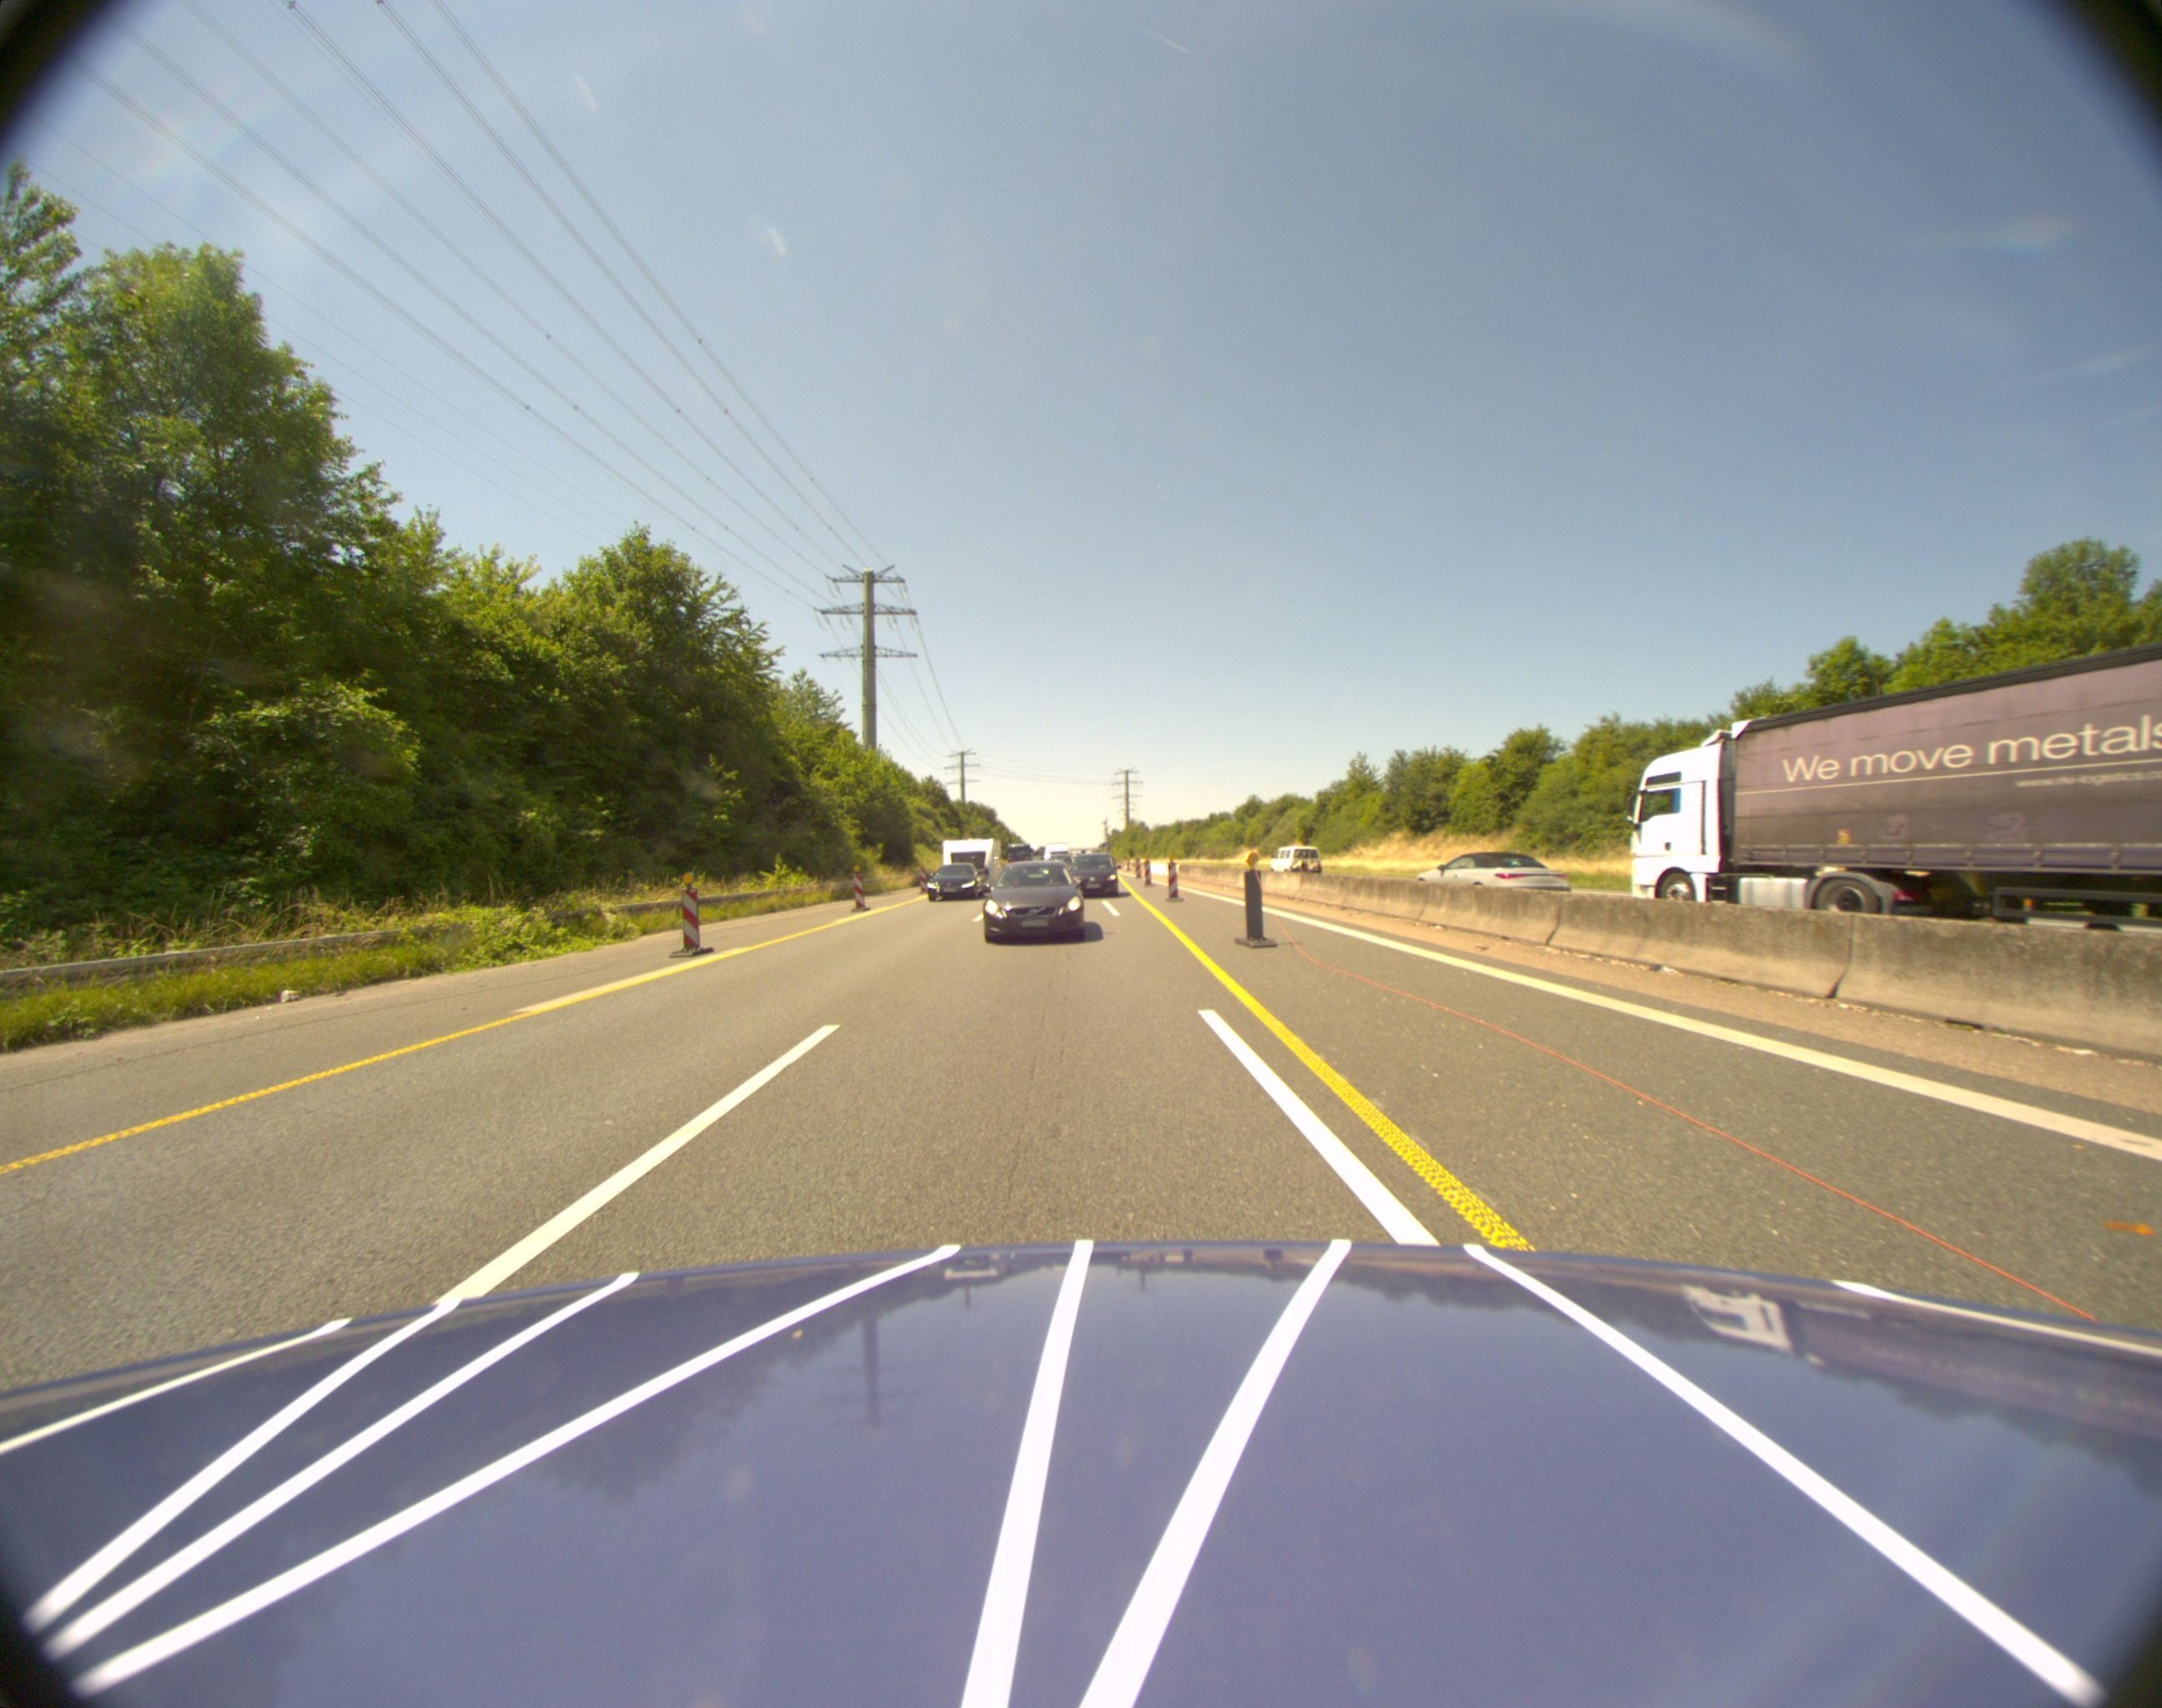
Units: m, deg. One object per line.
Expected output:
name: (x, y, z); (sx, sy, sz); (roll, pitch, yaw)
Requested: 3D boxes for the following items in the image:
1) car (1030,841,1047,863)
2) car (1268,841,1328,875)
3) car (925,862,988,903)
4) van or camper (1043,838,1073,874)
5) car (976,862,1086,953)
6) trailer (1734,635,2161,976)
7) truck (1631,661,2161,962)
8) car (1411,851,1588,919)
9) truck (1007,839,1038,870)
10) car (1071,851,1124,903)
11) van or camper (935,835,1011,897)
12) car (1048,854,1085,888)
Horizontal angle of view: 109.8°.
car: (-7.733, -0.432, 139.636); (2.397, 3.779, 10.272); (-3, 0, 0)
car: (12.326, 0.198, 43.545); (1.871, 1.782, 5.454); (-1, 0, 0)
car: (-4.901, 1.067, 30.383); (1.801, 1.399, 4.209); (-2, 0, 0)
van or camper: (-1.699, 0.165, 58.083); (1.998, 2.604, 5.629); (-1, 0, 1)
car: (-0.855, 0.931, 14.894); (1.799, 1.433, 4.000); (-2, 0, 0)
trailer: (14.759, -0.602, 8.425); (3.168, 4.155, 13.682); (-1, 0, -1)
truck: (14.704, -0.612, 14.357); (3.172, 4.200, 7.414); (-1, 0, -1)
car: (10.205, 0.674, 19.010); (1.767, 1.462, 4.633); (-1, 0, -2)
truck: (-6.361, 0.047, 84.038); (2.431, 3.122, 7.647); (-4, 0, 1)
car: (0.600, 0.745, 27.524); (1.675, 1.619, 4.691); (-4, 0, 1)
van or camper: (-5.018, 0.487, 36.697); (2.432, 2.549, 8.416); (-2, 0, 0)
car: (-0.717, 0.836, 40.227); (1.744, 1.658, 4.157); (-2, 0, 1)
